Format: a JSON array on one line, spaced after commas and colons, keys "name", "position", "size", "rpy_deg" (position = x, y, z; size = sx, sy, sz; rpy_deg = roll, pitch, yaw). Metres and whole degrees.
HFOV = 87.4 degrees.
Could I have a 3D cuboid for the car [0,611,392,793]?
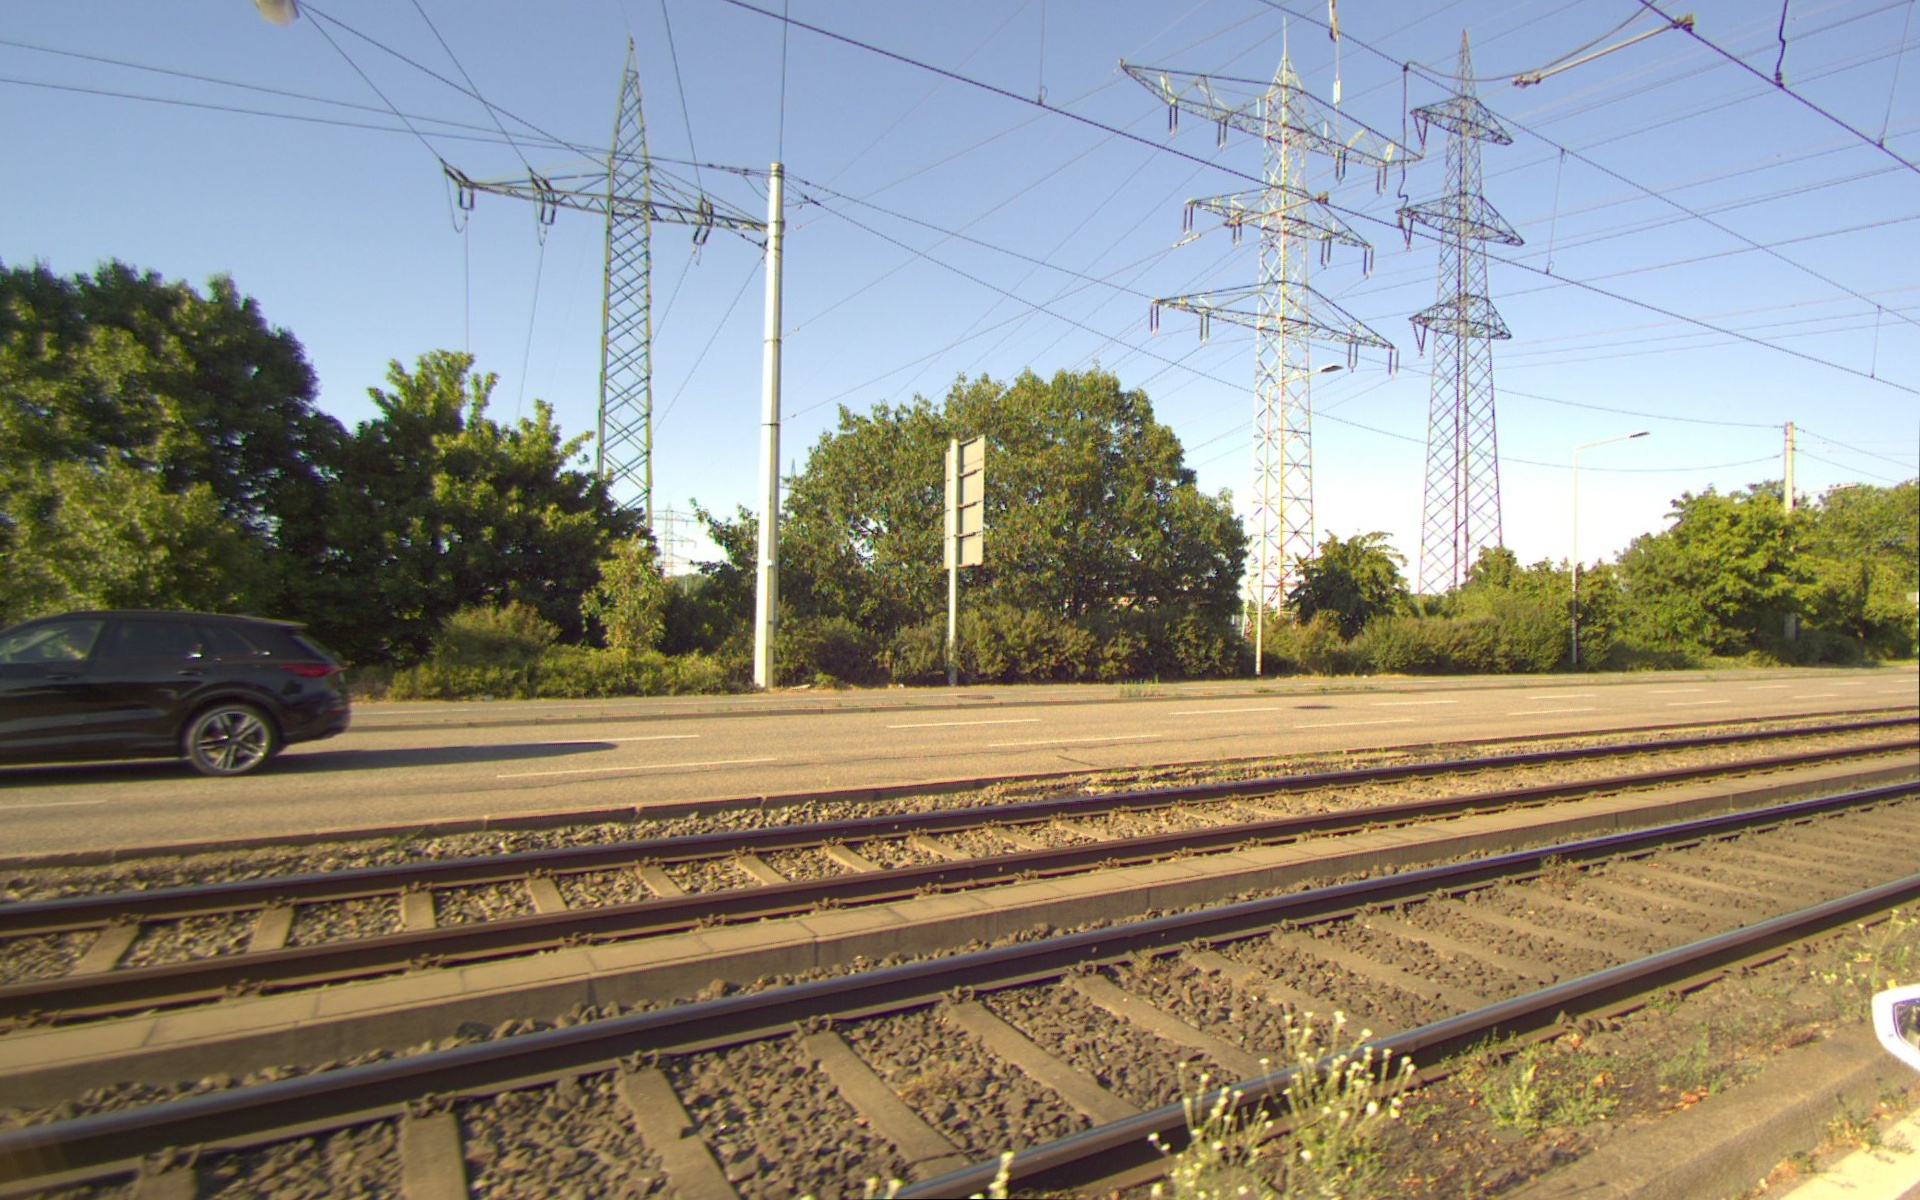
[{"name": "car", "position": [-8.525, 0.969, 10.298], "size": [4.627, 1.646, 1.985], "rpy_deg": [2, -2, -29]}]
